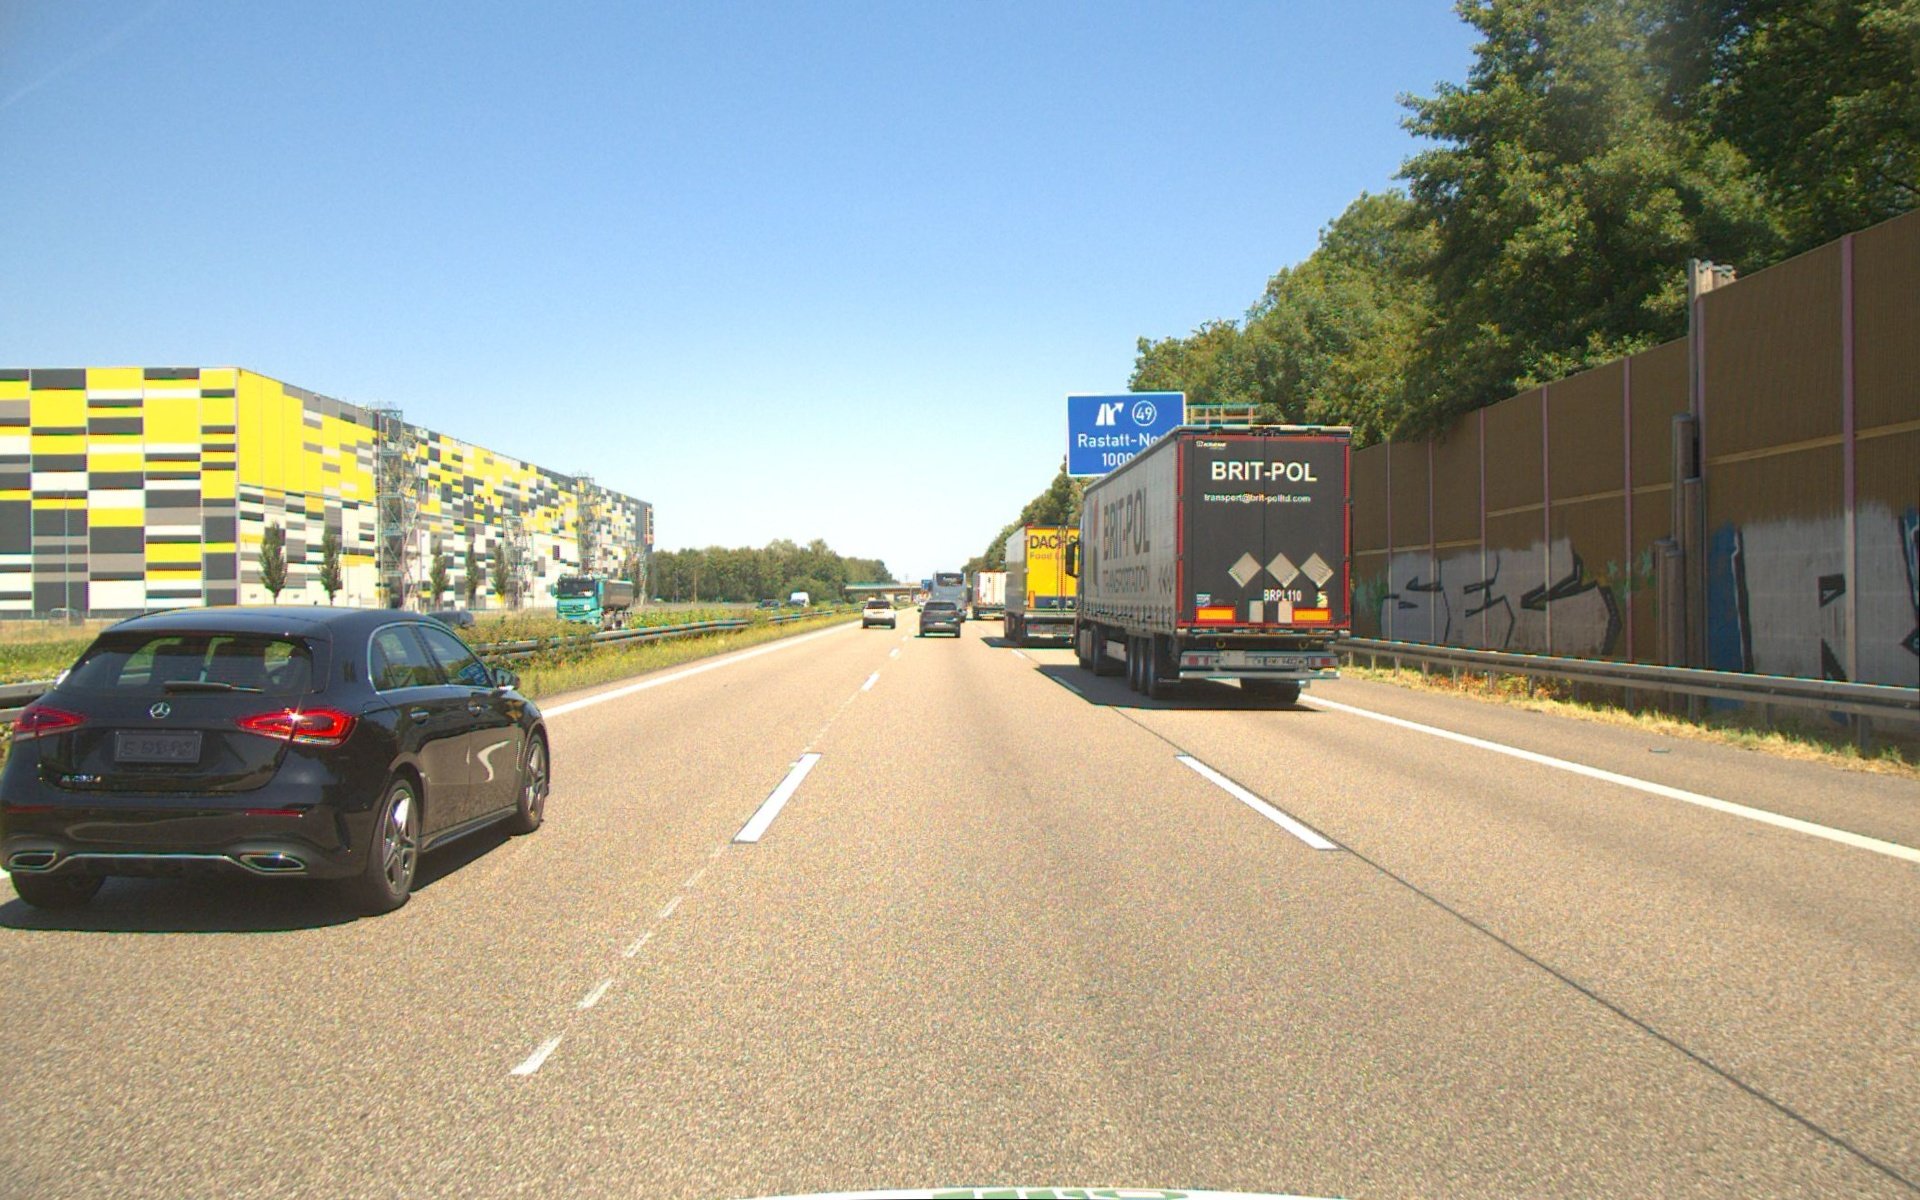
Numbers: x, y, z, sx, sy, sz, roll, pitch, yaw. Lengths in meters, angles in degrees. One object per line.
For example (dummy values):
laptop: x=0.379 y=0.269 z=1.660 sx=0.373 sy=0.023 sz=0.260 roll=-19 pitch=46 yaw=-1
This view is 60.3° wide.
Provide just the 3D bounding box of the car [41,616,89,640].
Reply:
car: x=-69.401 y=2.157 z=128.307 sx=1.650 sy=1.757 sz=4.110 roll=-1 pitch=0 yaw=-2

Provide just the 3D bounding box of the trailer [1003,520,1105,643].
trailer: x=3.241 y=-0.604 z=60.009 sx=2.777 sy=4.023 sz=11.680 roll=0 pitch=0 yaw=-1

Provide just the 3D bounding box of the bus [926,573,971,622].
bus: x=-0.889 y=-0.163 z=120.790 sx=3.001 sy=3.385 sz=8.270 roll=-1 pitch=0 yaw=-2

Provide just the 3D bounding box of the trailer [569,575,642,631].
trailer: x=-21.600 y=0.237 z=101.232 sx=2.621 sy=3.294 sz=9.256 roll=0 pitch=-1 yaw=-1

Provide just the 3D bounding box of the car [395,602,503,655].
car: x=-17.395 y=0.927 z=56.613 sx=1.953 sy=1.668 sz=5.662 roll=-1 pitch=0 yaw=-1

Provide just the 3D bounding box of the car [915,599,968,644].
car: x=-0.820 y=0.905 z=71.066 sx=2.171 sy=1.821 sz=5.391 roll=0 pitch=0 yaw=-1

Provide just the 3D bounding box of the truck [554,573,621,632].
truck: x=-21.510 y=0.174 z=95.722 sx=2.643 sy=3.307 sz=5.836 roll=0 pitch=-1 yaw=-1

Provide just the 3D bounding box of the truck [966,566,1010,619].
truck: x=2.279 y=-0.551 z=137.788 sx=3.353 sy=4.198 sz=9.563 roll=-1 pitch=0 yaw=0

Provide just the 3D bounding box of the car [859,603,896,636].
car: x=-4.498 y=1.032 z=90.376 sx=1.953 sy=1.758 sz=4.129 roll=0 pitch=0 yaw=-2

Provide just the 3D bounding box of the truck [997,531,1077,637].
truck: x=3.046 y=-0.616 z=67.238 sx=2.756 sy=4.077 sz=6.642 roll=0 pitch=0 yaw=-2

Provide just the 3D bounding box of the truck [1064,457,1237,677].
truck: x=4.152 y=-0.645 z=37.402 sx=3.025 sy=4.519 sz=6.051 roll=1 pitch=-1 yaw=-1

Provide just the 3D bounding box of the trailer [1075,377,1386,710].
trailer: x=4.295 y=-0.723 z=30.450 sx=3.043 sy=4.586 sz=14.892 roll=1 pitch=-1 yaw=-1

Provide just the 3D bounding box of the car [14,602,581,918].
car: x=-3.537 y=0.748 z=9.713 sx=1.756 sy=1.436 sz=4.051 roll=1 pitch=0 yaw=-2
